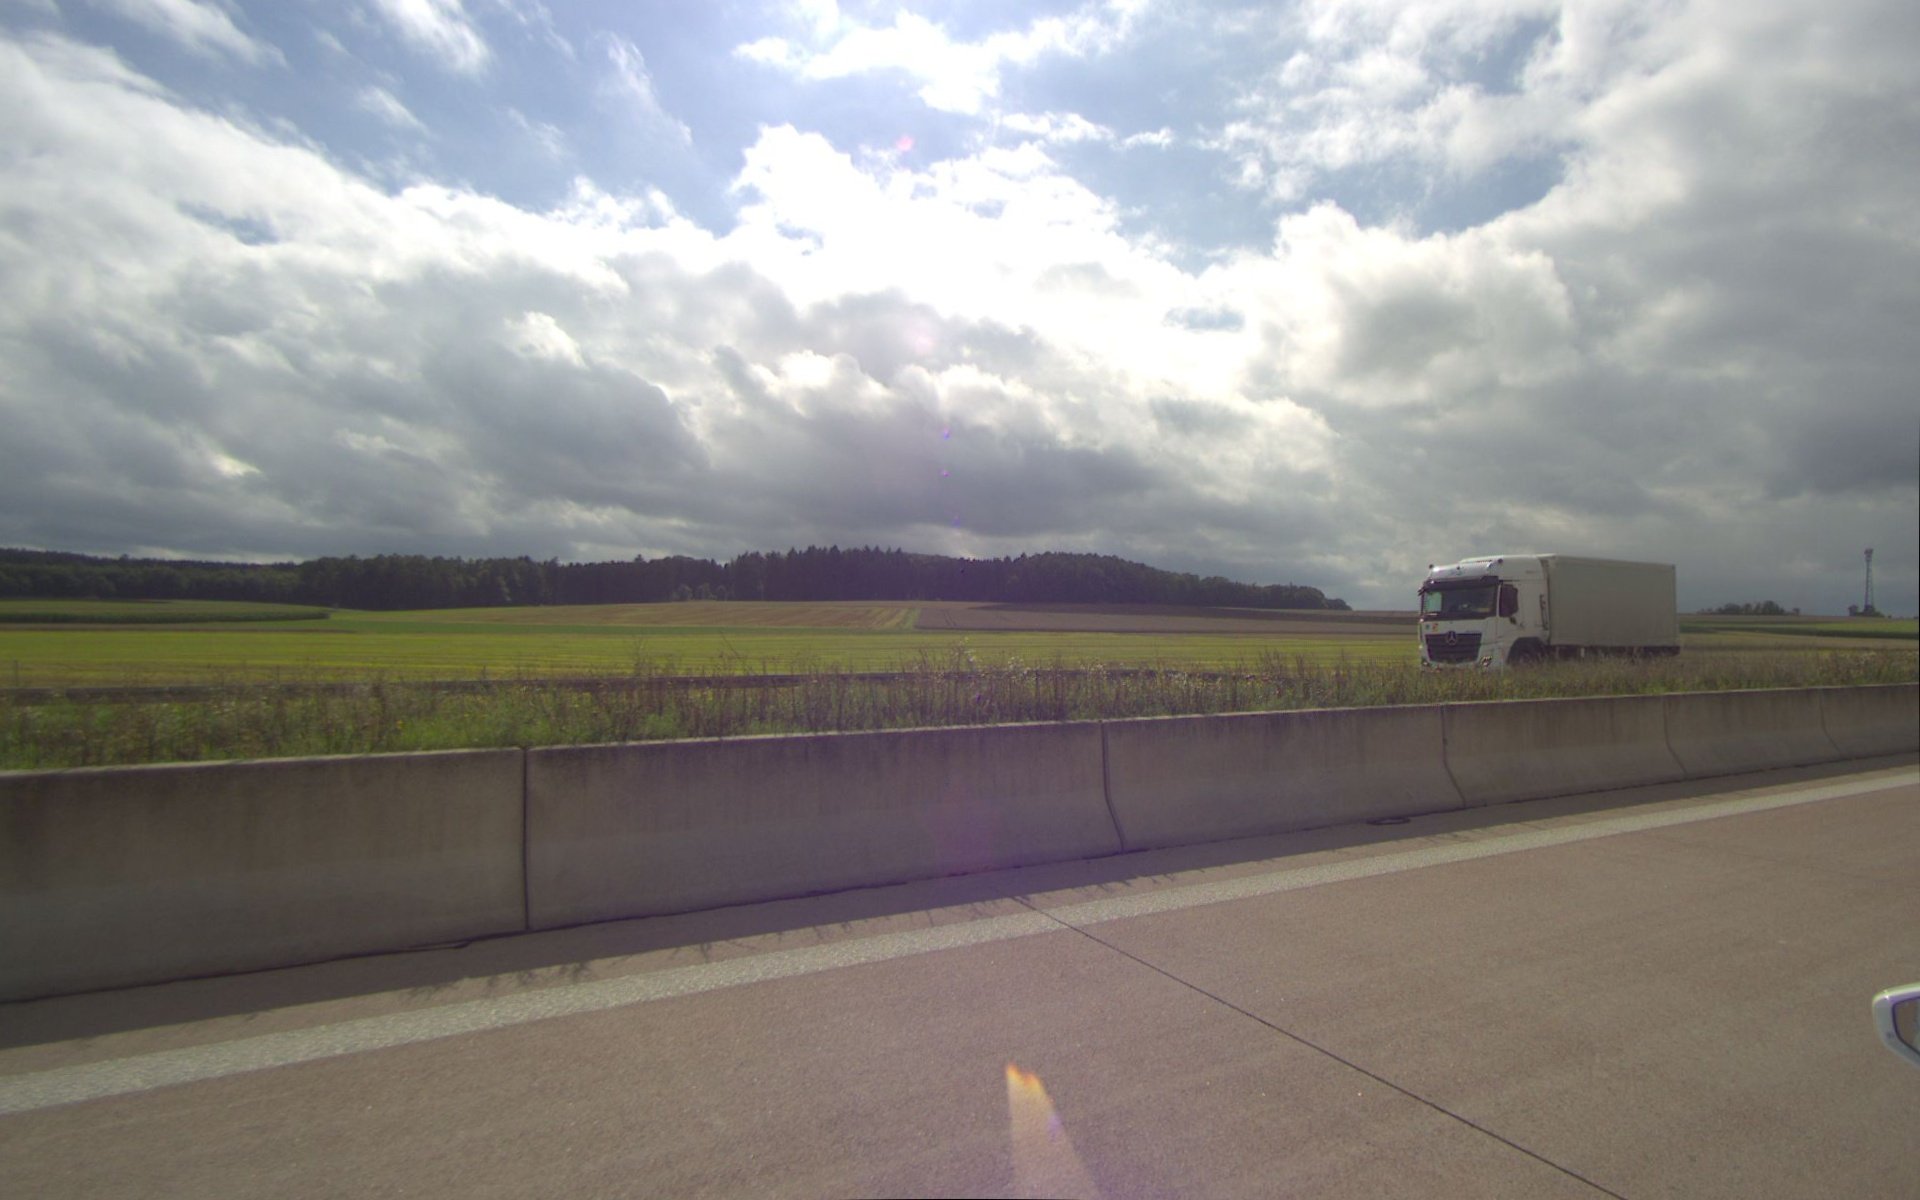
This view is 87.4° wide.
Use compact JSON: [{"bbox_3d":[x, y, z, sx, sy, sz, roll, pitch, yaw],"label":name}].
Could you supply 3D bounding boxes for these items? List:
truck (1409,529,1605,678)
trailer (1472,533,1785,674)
[{"bbox_3d":[16.099,0.165,29.546,5.228,4.011,2.757,1,-2,-30],"label":"truck"},{"bbox_3d":[22.555,0.274,33.345,14.162,4.011,2.757,1,-2,-30],"label":"trailer"}]
